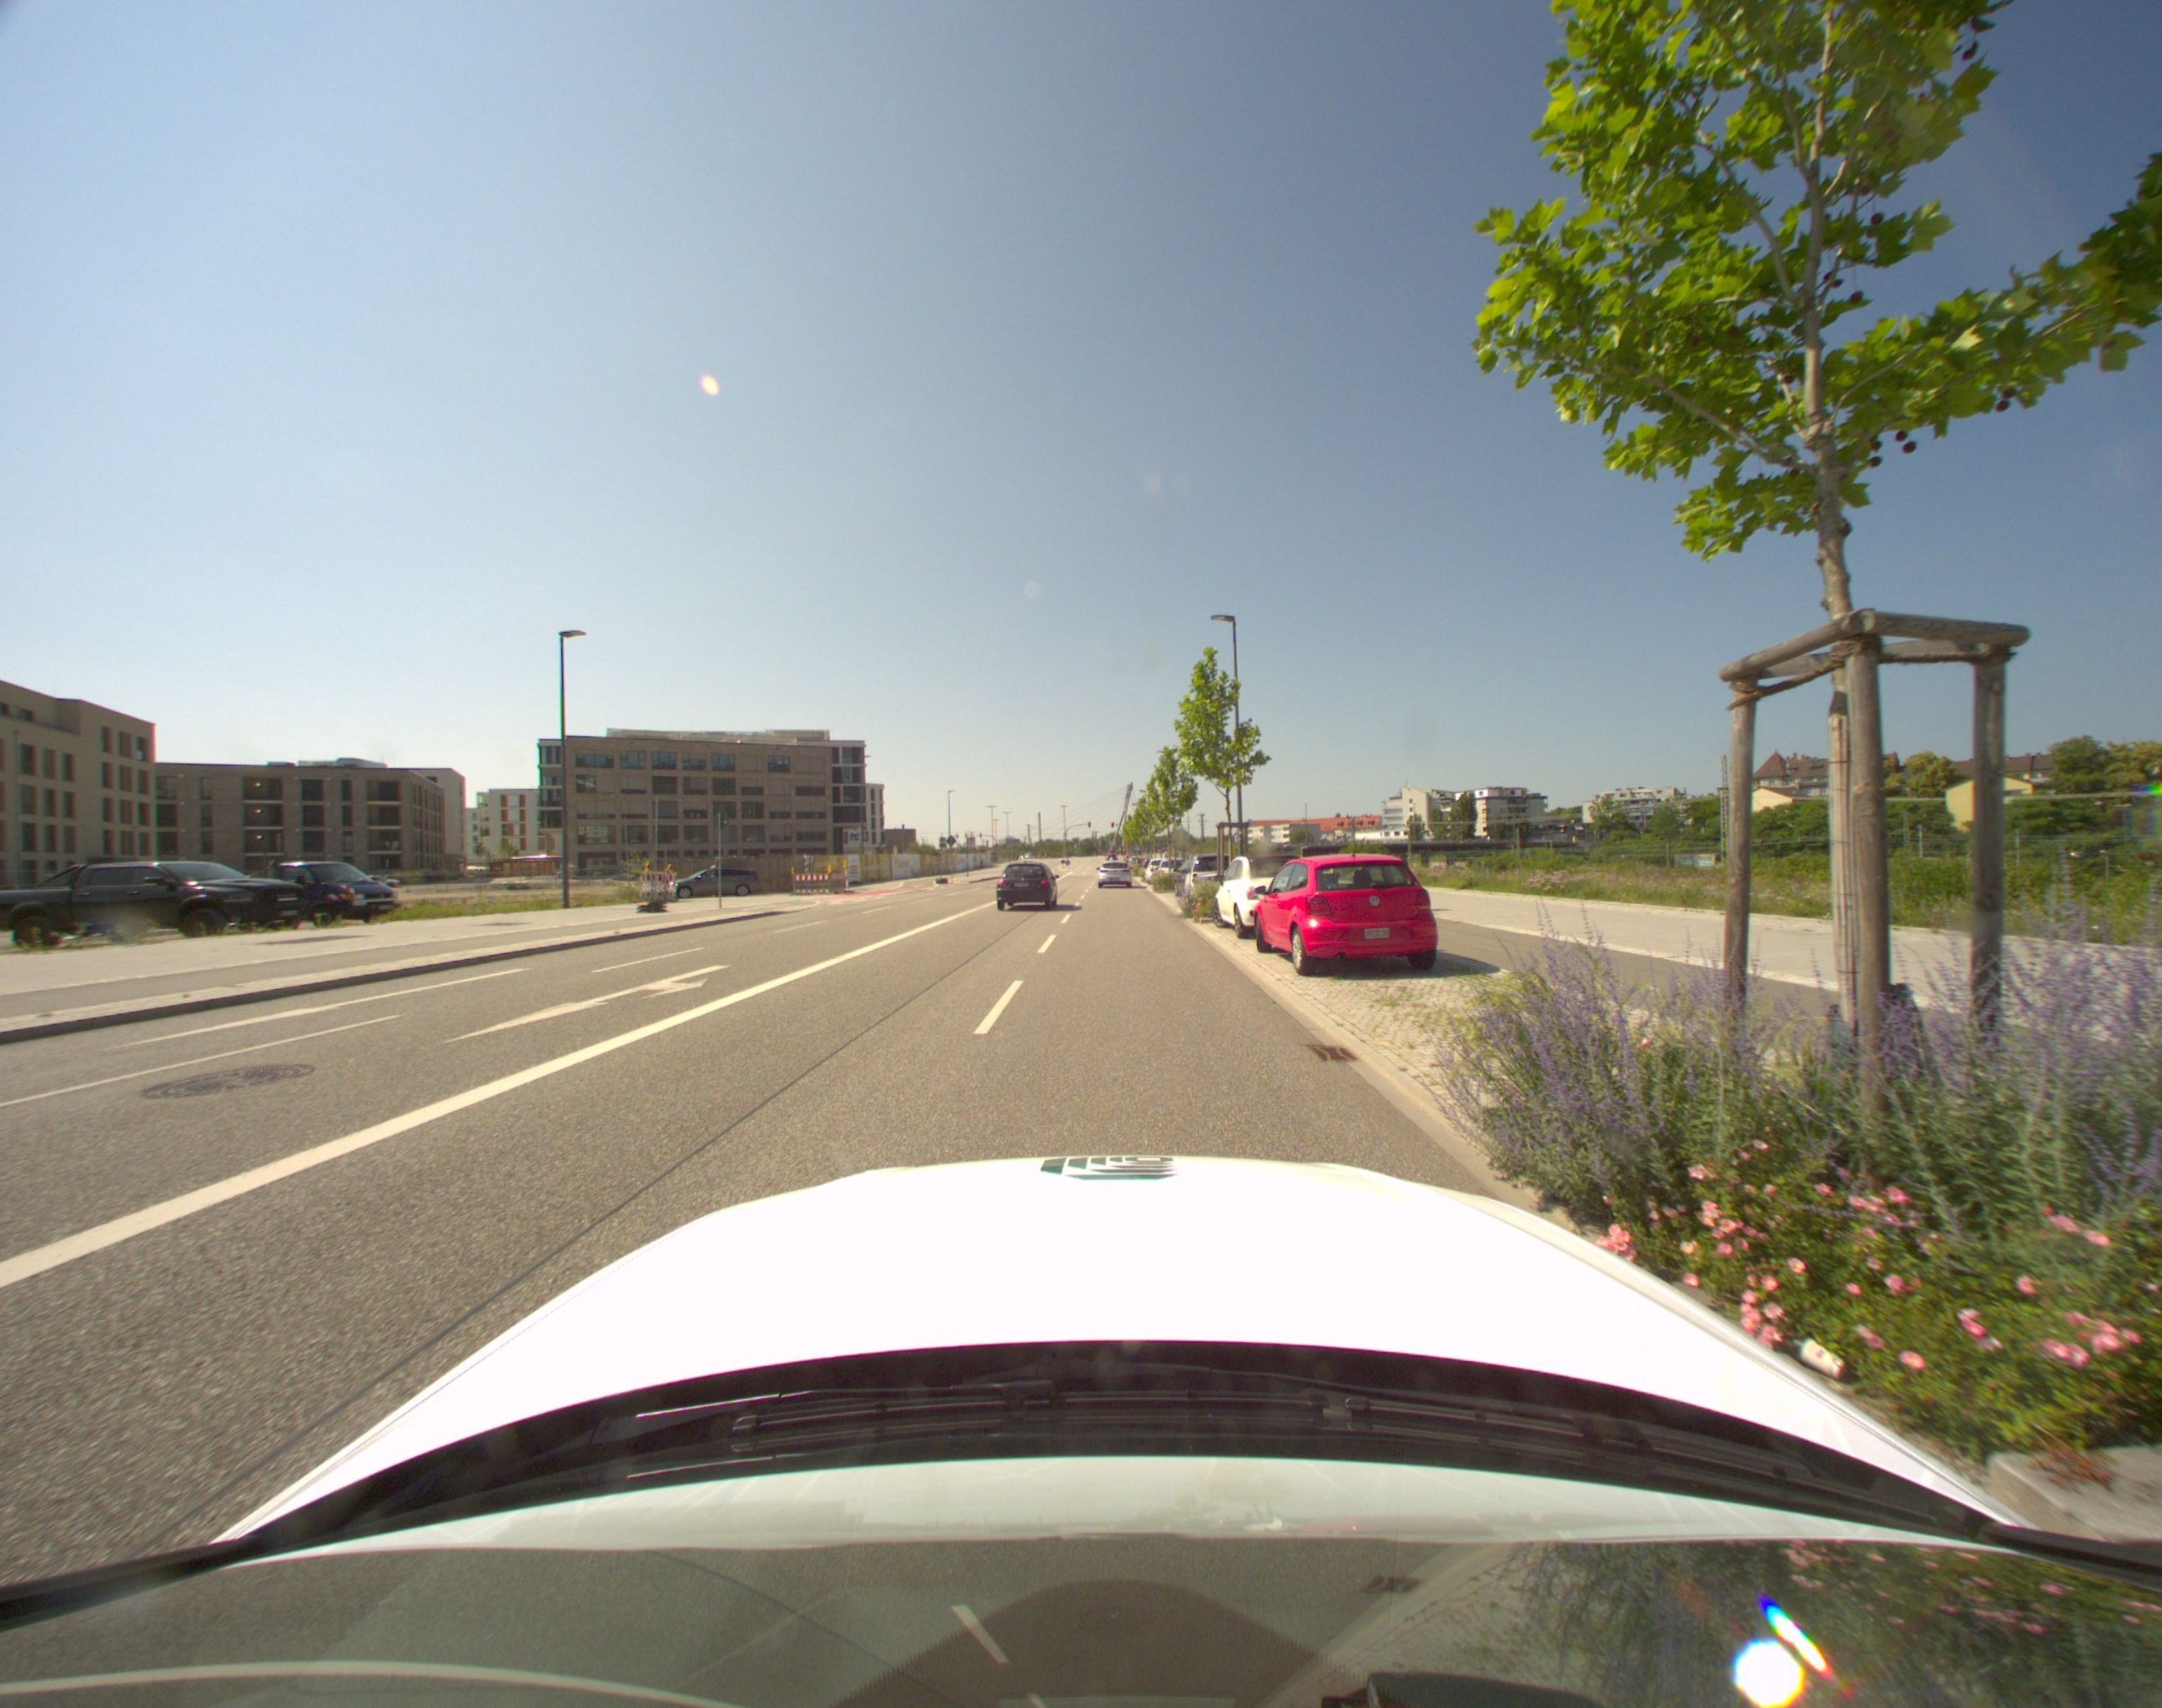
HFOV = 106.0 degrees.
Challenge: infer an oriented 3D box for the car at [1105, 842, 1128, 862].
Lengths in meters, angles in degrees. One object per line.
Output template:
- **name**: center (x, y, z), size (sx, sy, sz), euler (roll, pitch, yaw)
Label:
- **car**: center (2.897, -0.201, 66.441), size (1.771, 1.568, 4.003), euler (-1, 1, 2)

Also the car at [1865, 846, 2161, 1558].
- **car**: center (2.970, 0.678, 0.110), size (1.627, 1.429, 4.241), euler (-3, 0, 1)

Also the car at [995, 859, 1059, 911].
- **car**: center (-1.613, 0.914, 25.312), size (1.614, 1.416, 3.728), euler (-2, 0, 1)

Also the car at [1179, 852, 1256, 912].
- **car**: center (3.958, 0.786, 24.231), size (1.899, 1.577, 4.163), euler (-2, -1, 5)

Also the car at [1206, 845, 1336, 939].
- **car**: center (3.563, 0.719, 15.914), size (1.711, 1.524, 3.643), euler (-3, -2, 2)

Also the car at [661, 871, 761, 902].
- **car**: center (-18.400, 1.597, 40.581), size (4.264, 1.318, 1.979), euler (-2, 0, -34)

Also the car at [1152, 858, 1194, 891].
- **car**: center (4.457, 0.978, 39.937), size (1.899, 1.479, 4.163), euler (-2, -1, 5)

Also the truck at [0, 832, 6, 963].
- **truck**: center (-22.388, 0.876, 13.678), size (5.548, 2.362, 2.275), euler (-2, 0, 0)

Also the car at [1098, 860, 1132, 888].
- **car**: center (1.853, 1.051, 43.844), size (1.771, 1.442, 4.003), euler (0, -1, 3)

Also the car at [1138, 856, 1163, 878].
- **car**: center (5.082, 0.935, 59.809), size (1.696, 1.462, 4.089), euler (-2, 0, 4)

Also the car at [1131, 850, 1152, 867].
- **car**: center (6.031, 0.467, 81.337), size (1.698, 1.463, 3.953), euler (-3, -1, 0)

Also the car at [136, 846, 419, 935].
- **car**: center (-22.452, 0.972, 22.989), size (5.428, 2.173, 2.394), euler (-2, 0, -2)

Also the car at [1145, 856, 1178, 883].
- **car**: center (4.749, 0.896, 48.607), size (1.739, 1.509, 4.004), euler (-2, 0, 3)

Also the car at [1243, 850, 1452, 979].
- **car**: center (3.437, 0.680, 11.291), size (1.711, 1.451, 4.002), euler (0, 1, 2)

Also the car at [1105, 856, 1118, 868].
- **car**: center (4.602, 1.198, 122.402), size (1.771, 1.568, 4.003), euler (-1, 1, 2)

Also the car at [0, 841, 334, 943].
- **car**: center (-22.385, 0.887, 19.900), size (5.867, 2.165, 2.394), euler (-2, 0, -2)

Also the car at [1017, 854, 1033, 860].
- **car**: center (-13.631, 0.737, 199.426), size (1.871, 1.649, 3.952), euler (1, -1, -42)

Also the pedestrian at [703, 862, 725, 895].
- **pedestrian**: center (-19.013, 1.271, 42.216), size (0.679, 1.684, 0.759), euler (0, -2, 18)

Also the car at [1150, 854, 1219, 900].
- **car**: center (3.678, 0.829, 29.625), size (1.784, 1.477, 4.369), euler (-3, -1, -1)
